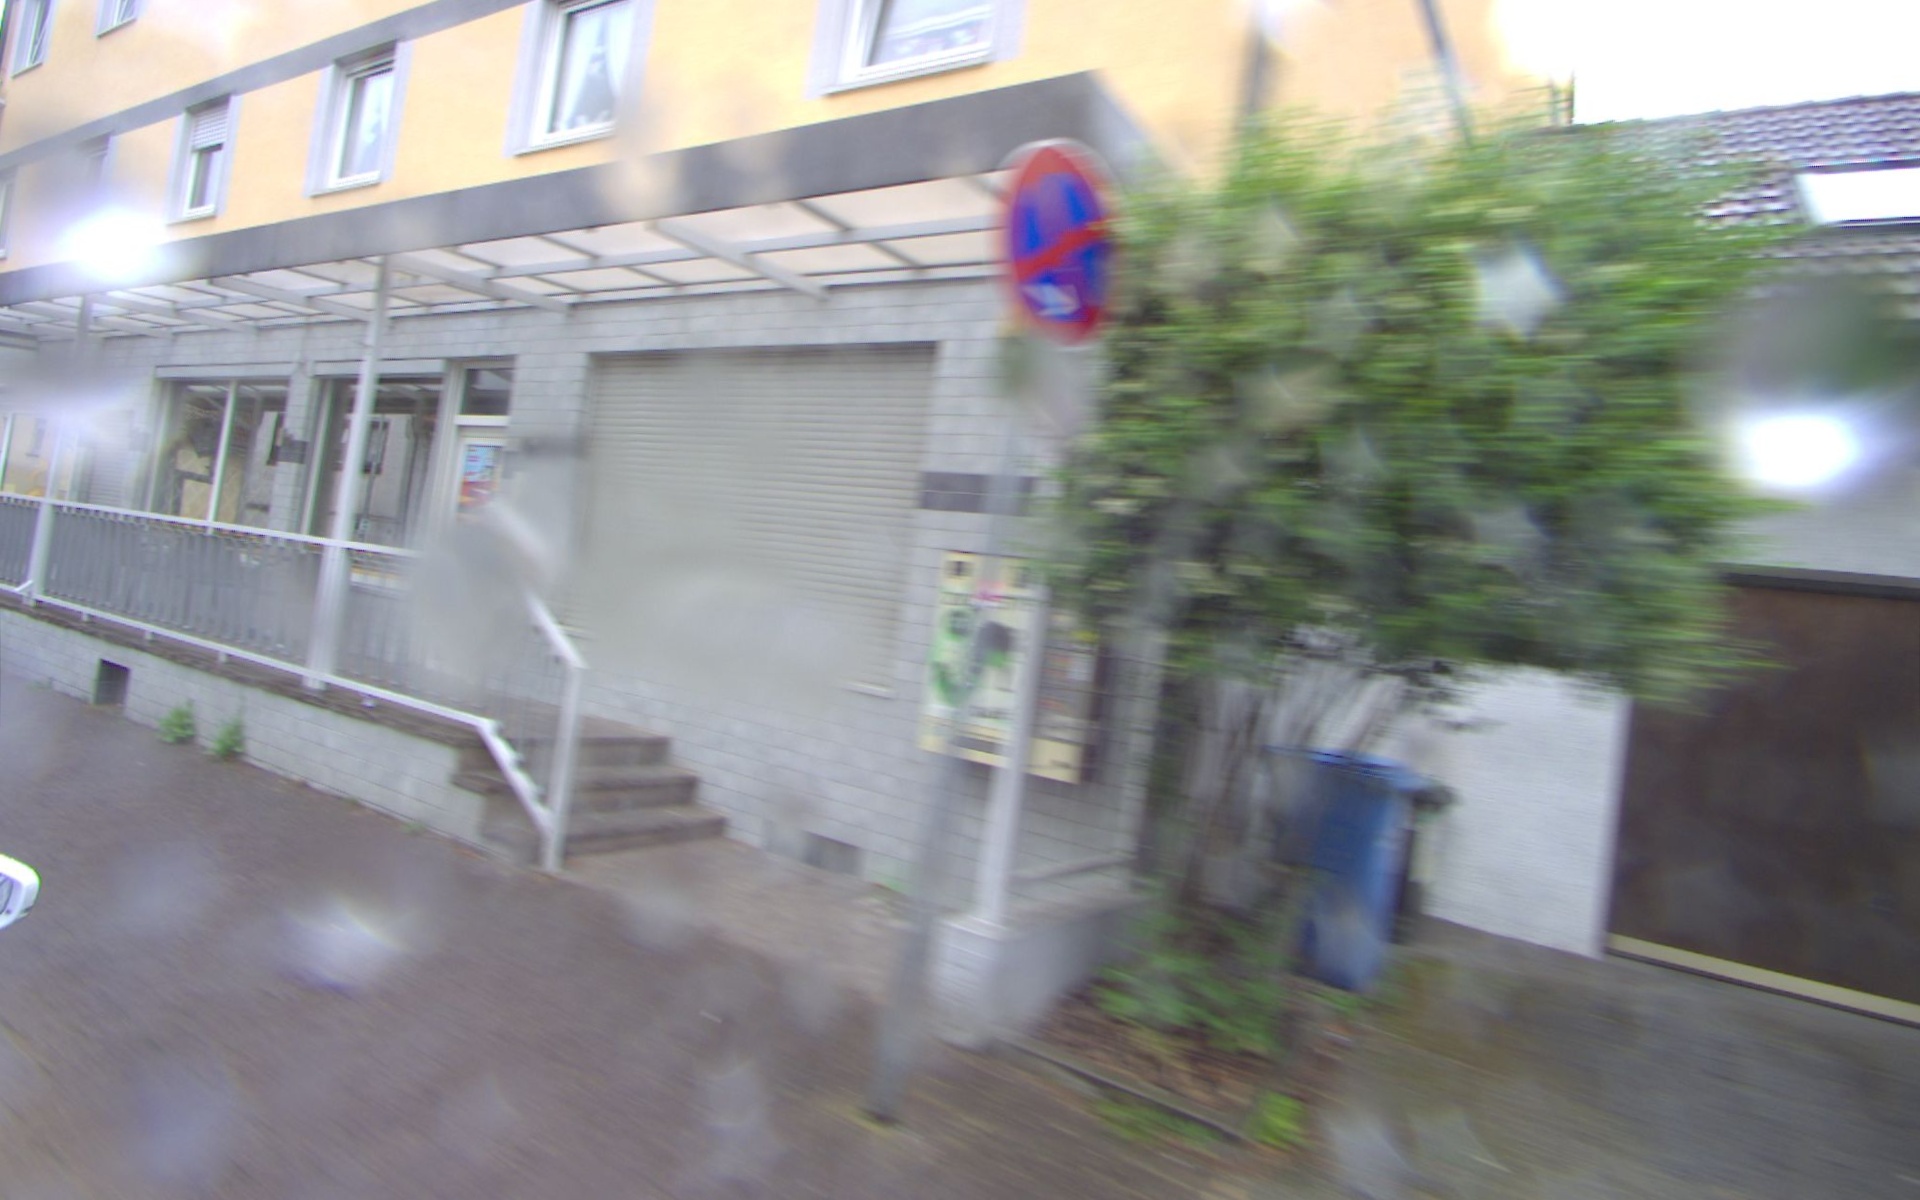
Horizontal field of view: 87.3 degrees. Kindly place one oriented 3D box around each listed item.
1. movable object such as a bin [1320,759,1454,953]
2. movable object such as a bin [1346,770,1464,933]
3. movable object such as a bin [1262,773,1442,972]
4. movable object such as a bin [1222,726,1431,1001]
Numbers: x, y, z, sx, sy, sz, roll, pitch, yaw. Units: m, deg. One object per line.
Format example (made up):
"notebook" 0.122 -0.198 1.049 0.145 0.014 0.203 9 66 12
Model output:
"movable object such as a bin" 2.435 1.424 5.728 0.524 0.932 0.446 7 0 35
"movable object such as a bin" 2.729 1.513 6.161 0.496 0.835 0.465 7 0 35
"movable object such as a bin" 2.090 1.417 5.370 0.728 0.822 0.449 7 1 35
"movable object such as a bin" 1.773 1.218 4.864 0.728 1.094 0.509 7 0 35
